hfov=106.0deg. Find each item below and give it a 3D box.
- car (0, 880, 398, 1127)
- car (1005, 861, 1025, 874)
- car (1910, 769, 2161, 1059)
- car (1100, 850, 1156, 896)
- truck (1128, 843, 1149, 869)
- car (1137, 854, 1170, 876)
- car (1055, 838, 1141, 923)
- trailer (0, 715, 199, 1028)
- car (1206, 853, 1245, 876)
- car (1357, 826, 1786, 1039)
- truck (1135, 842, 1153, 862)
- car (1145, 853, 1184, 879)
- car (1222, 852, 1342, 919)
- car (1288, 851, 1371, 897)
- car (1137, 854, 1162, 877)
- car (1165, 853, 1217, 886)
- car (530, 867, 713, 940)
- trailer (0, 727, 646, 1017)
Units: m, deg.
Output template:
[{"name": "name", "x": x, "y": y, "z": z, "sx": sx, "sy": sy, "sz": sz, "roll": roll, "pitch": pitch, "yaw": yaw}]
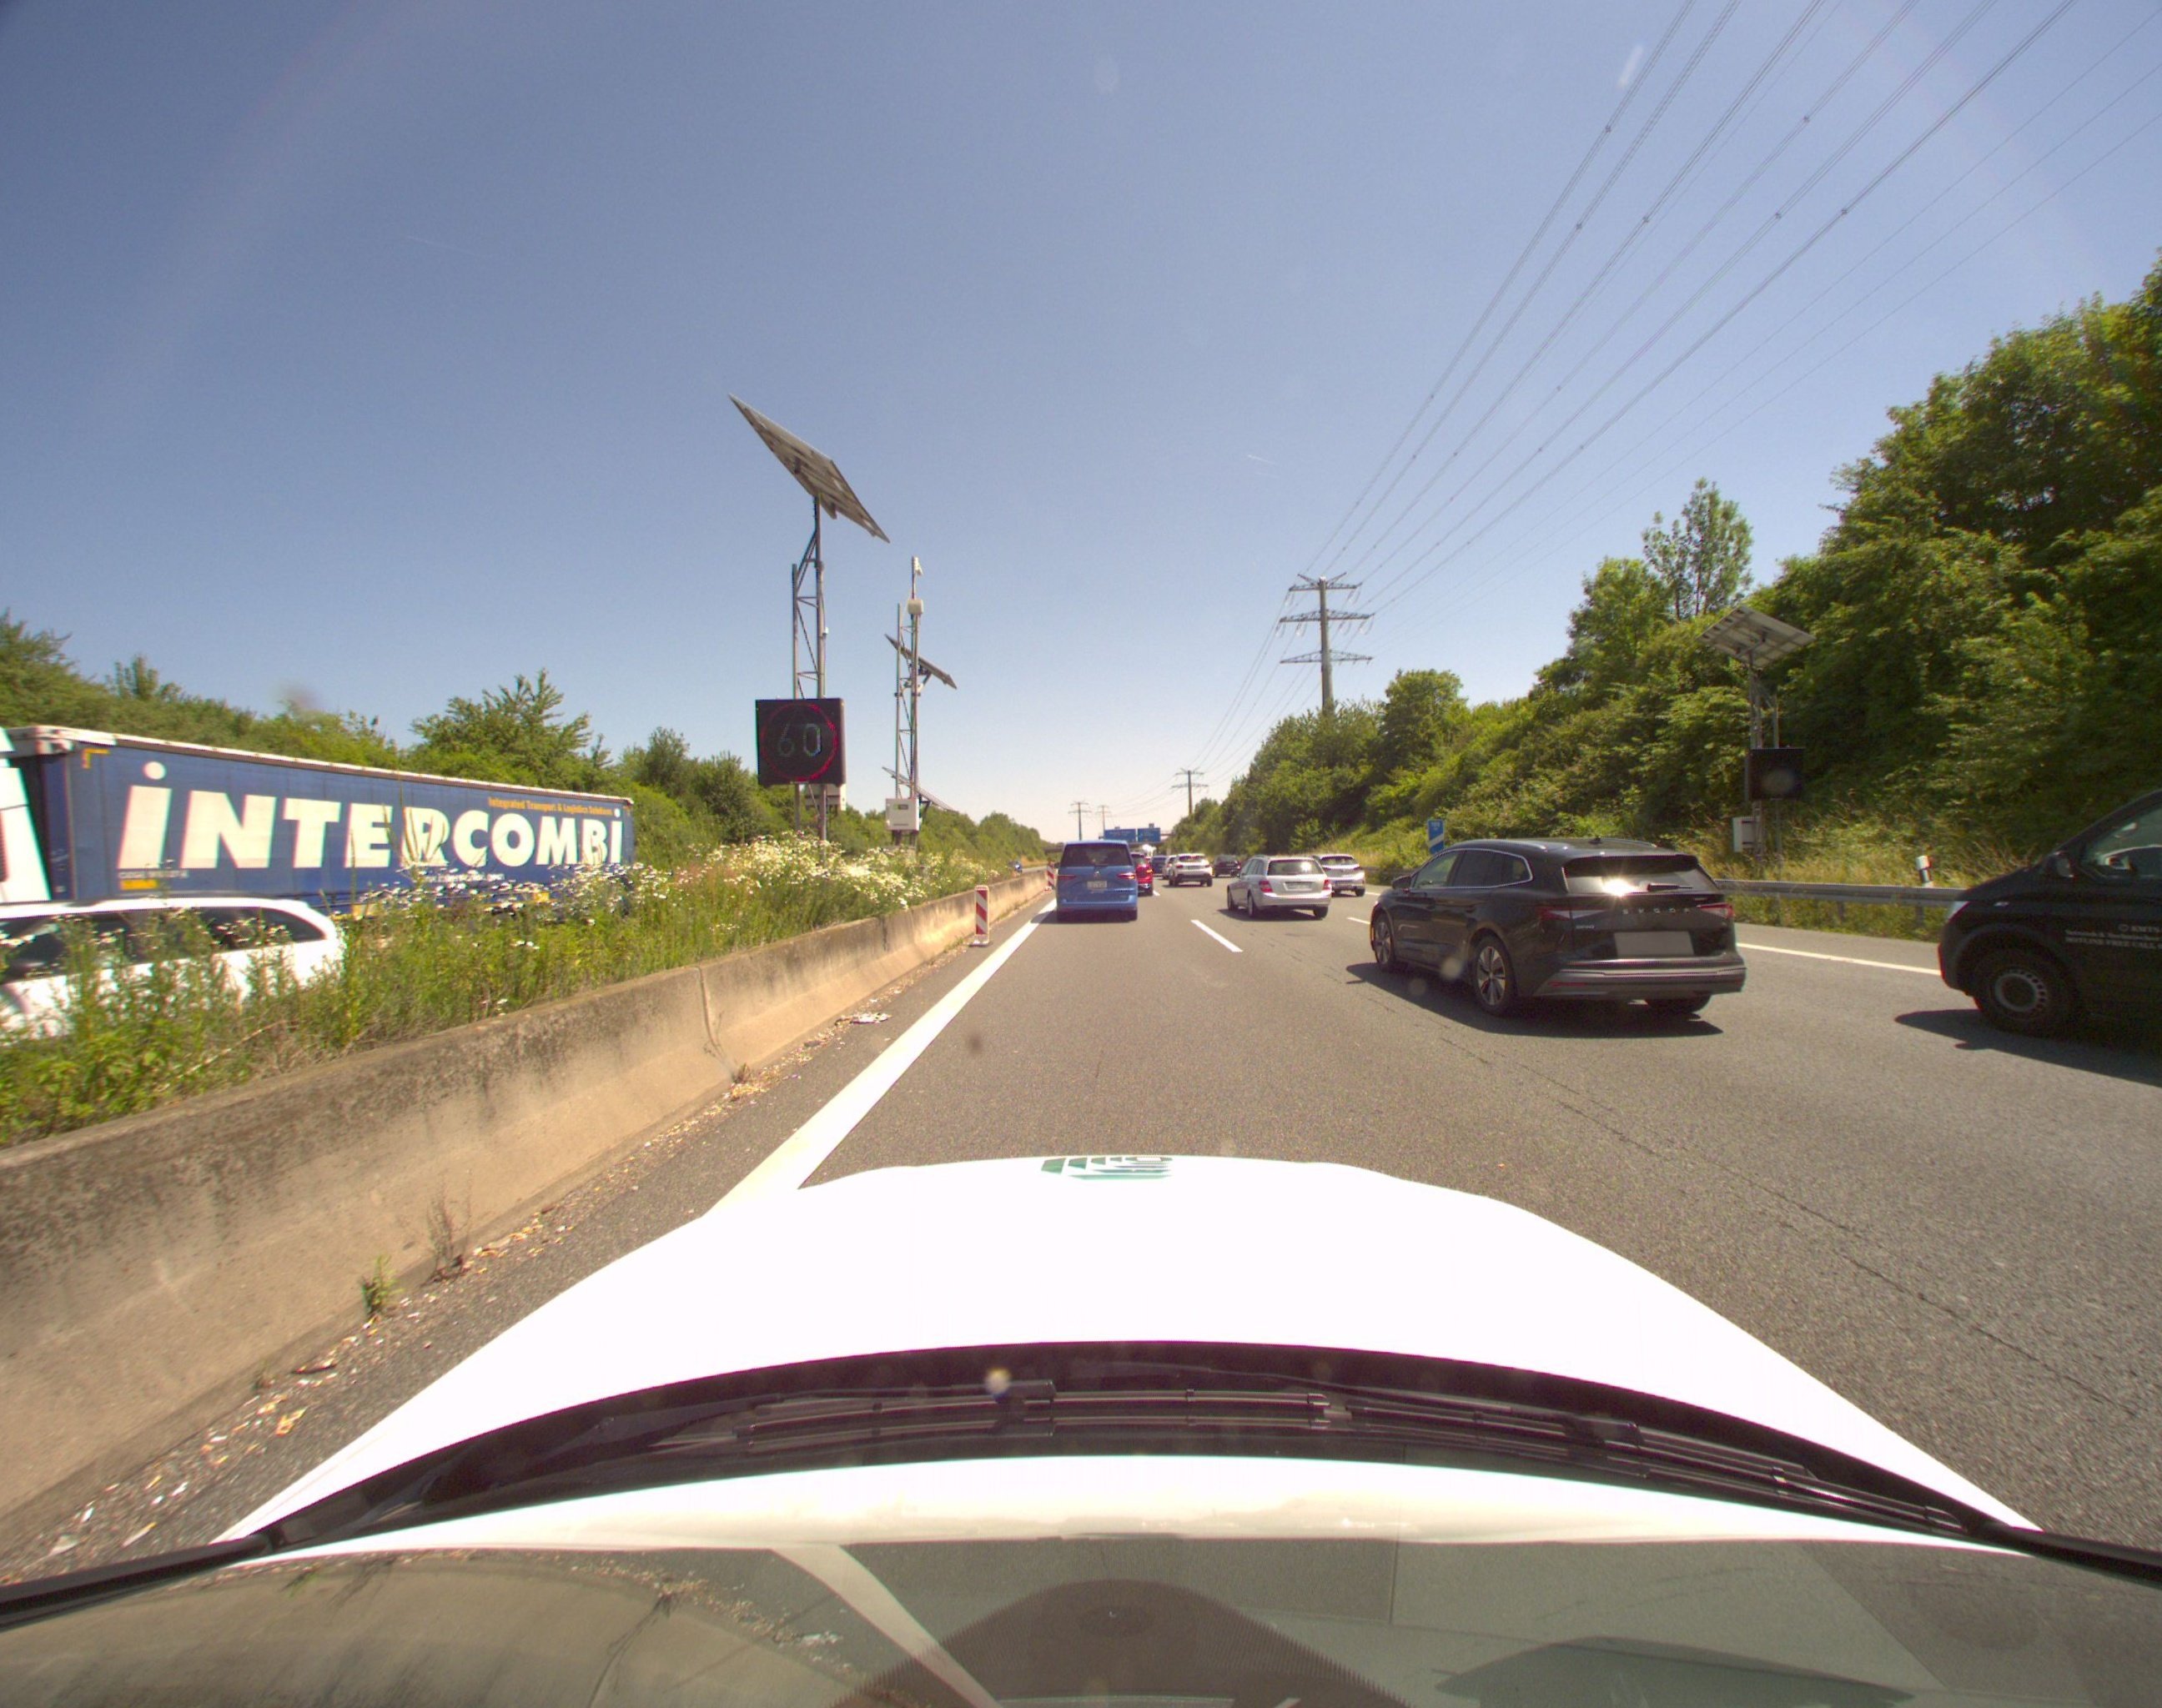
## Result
[{"name": "car", "x": -7.465, "y": 0.975, "z": 5.890, "sx": 1.578, "sy": 1.443, "sz": 4.002, "roll": 0, "pitch": 0, "yaw": 2}, {"name": "car", "x": -8.412, "y": 1.688, "z": 103.992, "sx": 1.986, "sy": 1.546, "sz": 4.913, "roll": -2, "pitch": 0, "yaw": 1}, {"name": "car", "x": 7.981, "y": 0.389, "z": 4.653, "sx": 1.778, "sy": 1.904, "sz": 4.699, "roll": 0, "pitch": 0, "yaw": 1}, {"name": "car", "x": 1.754, "y": 0.694, "z": 31.446, "sx": 1.902, "sy": 1.631, "sz": 4.383, "roll": -1, "pitch": 0, "yaw": 0}, {"name": "truck", "x": 6.397, "y": 0.212, "z": 91.031, "sx": 1.987, "sy": 2.723, "sz": 5.679, "roll": 0, "pitch": 0, "yaw": 0}, {"name": "car", "x": 5.133, "y": 0.783, "z": 58.272, "sx": 1.903, "sy": 1.516, "sz": 4.382, "roll": 0, "pitch": 0, "yaw": -1}, {"name": "car", "x": 0.307, "y": 0.584, "z": 20.310, "sx": 1.866, "sy": 1.879, "sz": 4.379, "roll": 0, "pitch": 0, "yaw": -2}, {"name": "trailer", "x": -15.444, "y": 0.300, "z": 10.031, "sx": 2.950, "sy": 4.057, "sz": 5.435, "roll": -4, "pitch": 0, "yaw": 1}, {"name": "car", "x": 9.262, "y": 0.663, "z": 52.419, "sx": 1.729, "sy": 1.378, "sz": 4.301, "roll": 0, "pitch": 0, "yaw": -1}, {"name": "car", "x": 4.539, "y": 0.616, "z": 8.504, "sx": 1.822, "sy": 1.614, "sz": 4.430, "roll": -1, "pitch": 0, "yaw": 0}, {"name": "truck", "x": 13.005, "y": -0.361, "z": 169.309, "sx": 2.636, "sy": 4.072, "sz": 16.439, "roll": 0, "pitch": 0, "yaw": 0}, {"name": "car", "x": 5.127, "y": 0.722, "z": 50.425, "sx": 1.903, "sy": 1.516, "sz": 4.382, "roll": 0, "pitch": 0, "yaw": -1}, {"name": "car", "x": 4.750, "y": 0.691, "z": 19.924, "sx": 1.815, "sy": 1.437, "sz": 4.382, "roll": 0, "pitch": 0, "yaw": -1}, {"name": "car", "x": 8.559, "y": 0.651, "z": 28.387, "sx": 1.735, "sy": 1.470, "sz": 4.015, "roll": -1, "pitch": 0, "yaw": 1}, {"name": "car", "x": 6.097, "y": 1.011, "z": 72.781, "sx": 1.986, "sy": 2.013, "sz": 4.001, "roll": 0, "pitch": 0, "yaw": 1}, {"name": "car", "x": 5.143, "y": 0.707, "z": 38.679, "sx": 1.903, "sy": 1.508, "sz": 3.920, "roll": 0, "pitch": 0, "yaw": -1}, {"name": "car", "x": -10.602, "y": 1.072, "z": 19.233, "sx": 1.674, "sy": 1.443, "sz": 4.468, "roll": 0, "pitch": 0, "yaw": 2}, {"name": "trailer", "x": -15.245, "y": 0.314, "z": 18.428, "sx": 2.950, "sy": 4.057, "sz": 13.599, "roll": -4, "pitch": 0, "yaw": 1}]
